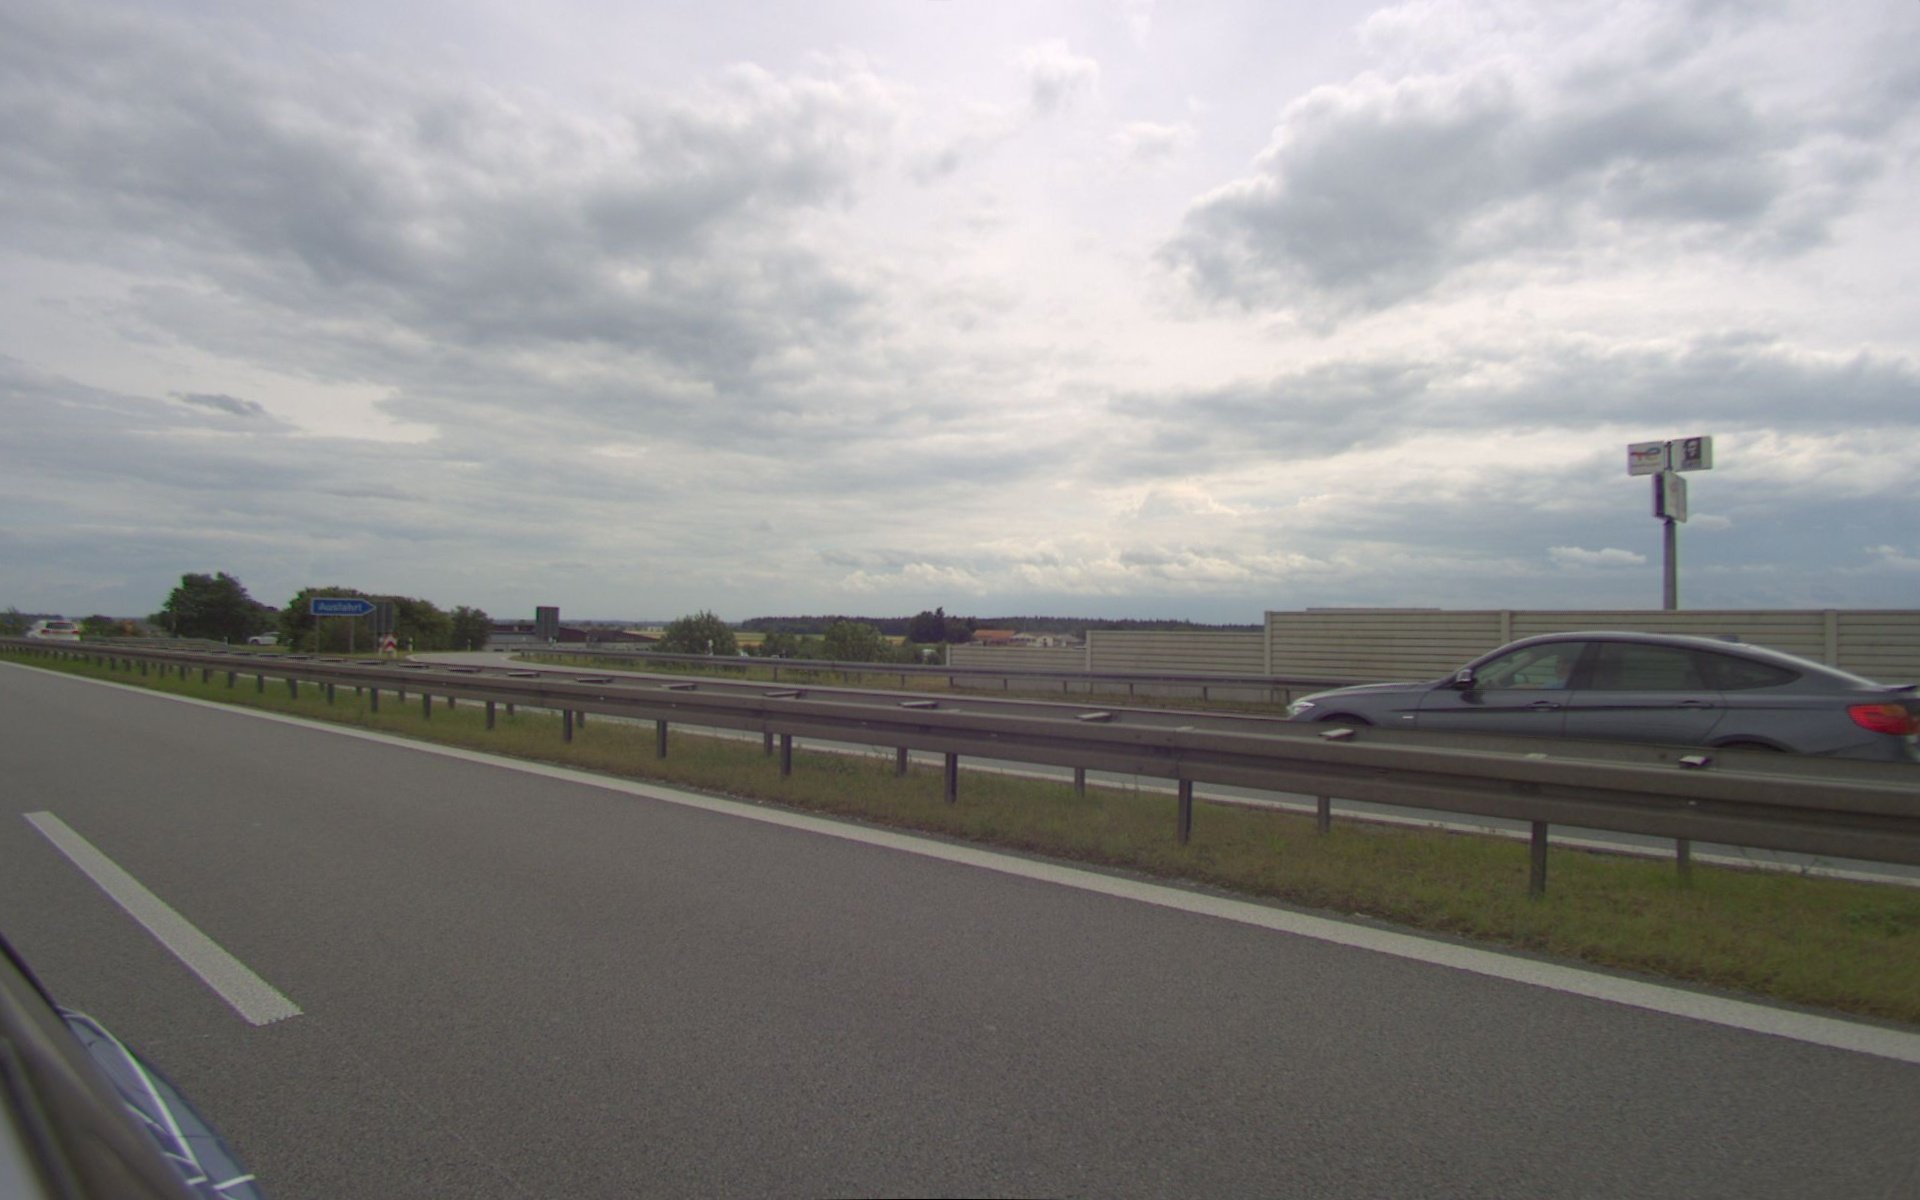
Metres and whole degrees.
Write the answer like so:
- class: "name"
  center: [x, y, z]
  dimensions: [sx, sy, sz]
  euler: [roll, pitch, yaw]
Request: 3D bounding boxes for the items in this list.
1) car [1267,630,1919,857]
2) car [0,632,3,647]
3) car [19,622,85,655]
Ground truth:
- class: "car"
  center: [5.423, 1.000, 8.511]
  dimensions: [5.171, 1.462, 1.769]
  euler: [-2, -2, 41]
- class: "car"
  center: [-91.661, 3.774, 95.324]
  dimensions: [3.997, 1.404, 1.782]
  euler: [-3, -2, 40]
- class: "car"
  center: [-51.082, 2.203, 56.895]
  dimensions: [4.957, 1.759, 2.049]
  euler: [-3, -5, 41]
